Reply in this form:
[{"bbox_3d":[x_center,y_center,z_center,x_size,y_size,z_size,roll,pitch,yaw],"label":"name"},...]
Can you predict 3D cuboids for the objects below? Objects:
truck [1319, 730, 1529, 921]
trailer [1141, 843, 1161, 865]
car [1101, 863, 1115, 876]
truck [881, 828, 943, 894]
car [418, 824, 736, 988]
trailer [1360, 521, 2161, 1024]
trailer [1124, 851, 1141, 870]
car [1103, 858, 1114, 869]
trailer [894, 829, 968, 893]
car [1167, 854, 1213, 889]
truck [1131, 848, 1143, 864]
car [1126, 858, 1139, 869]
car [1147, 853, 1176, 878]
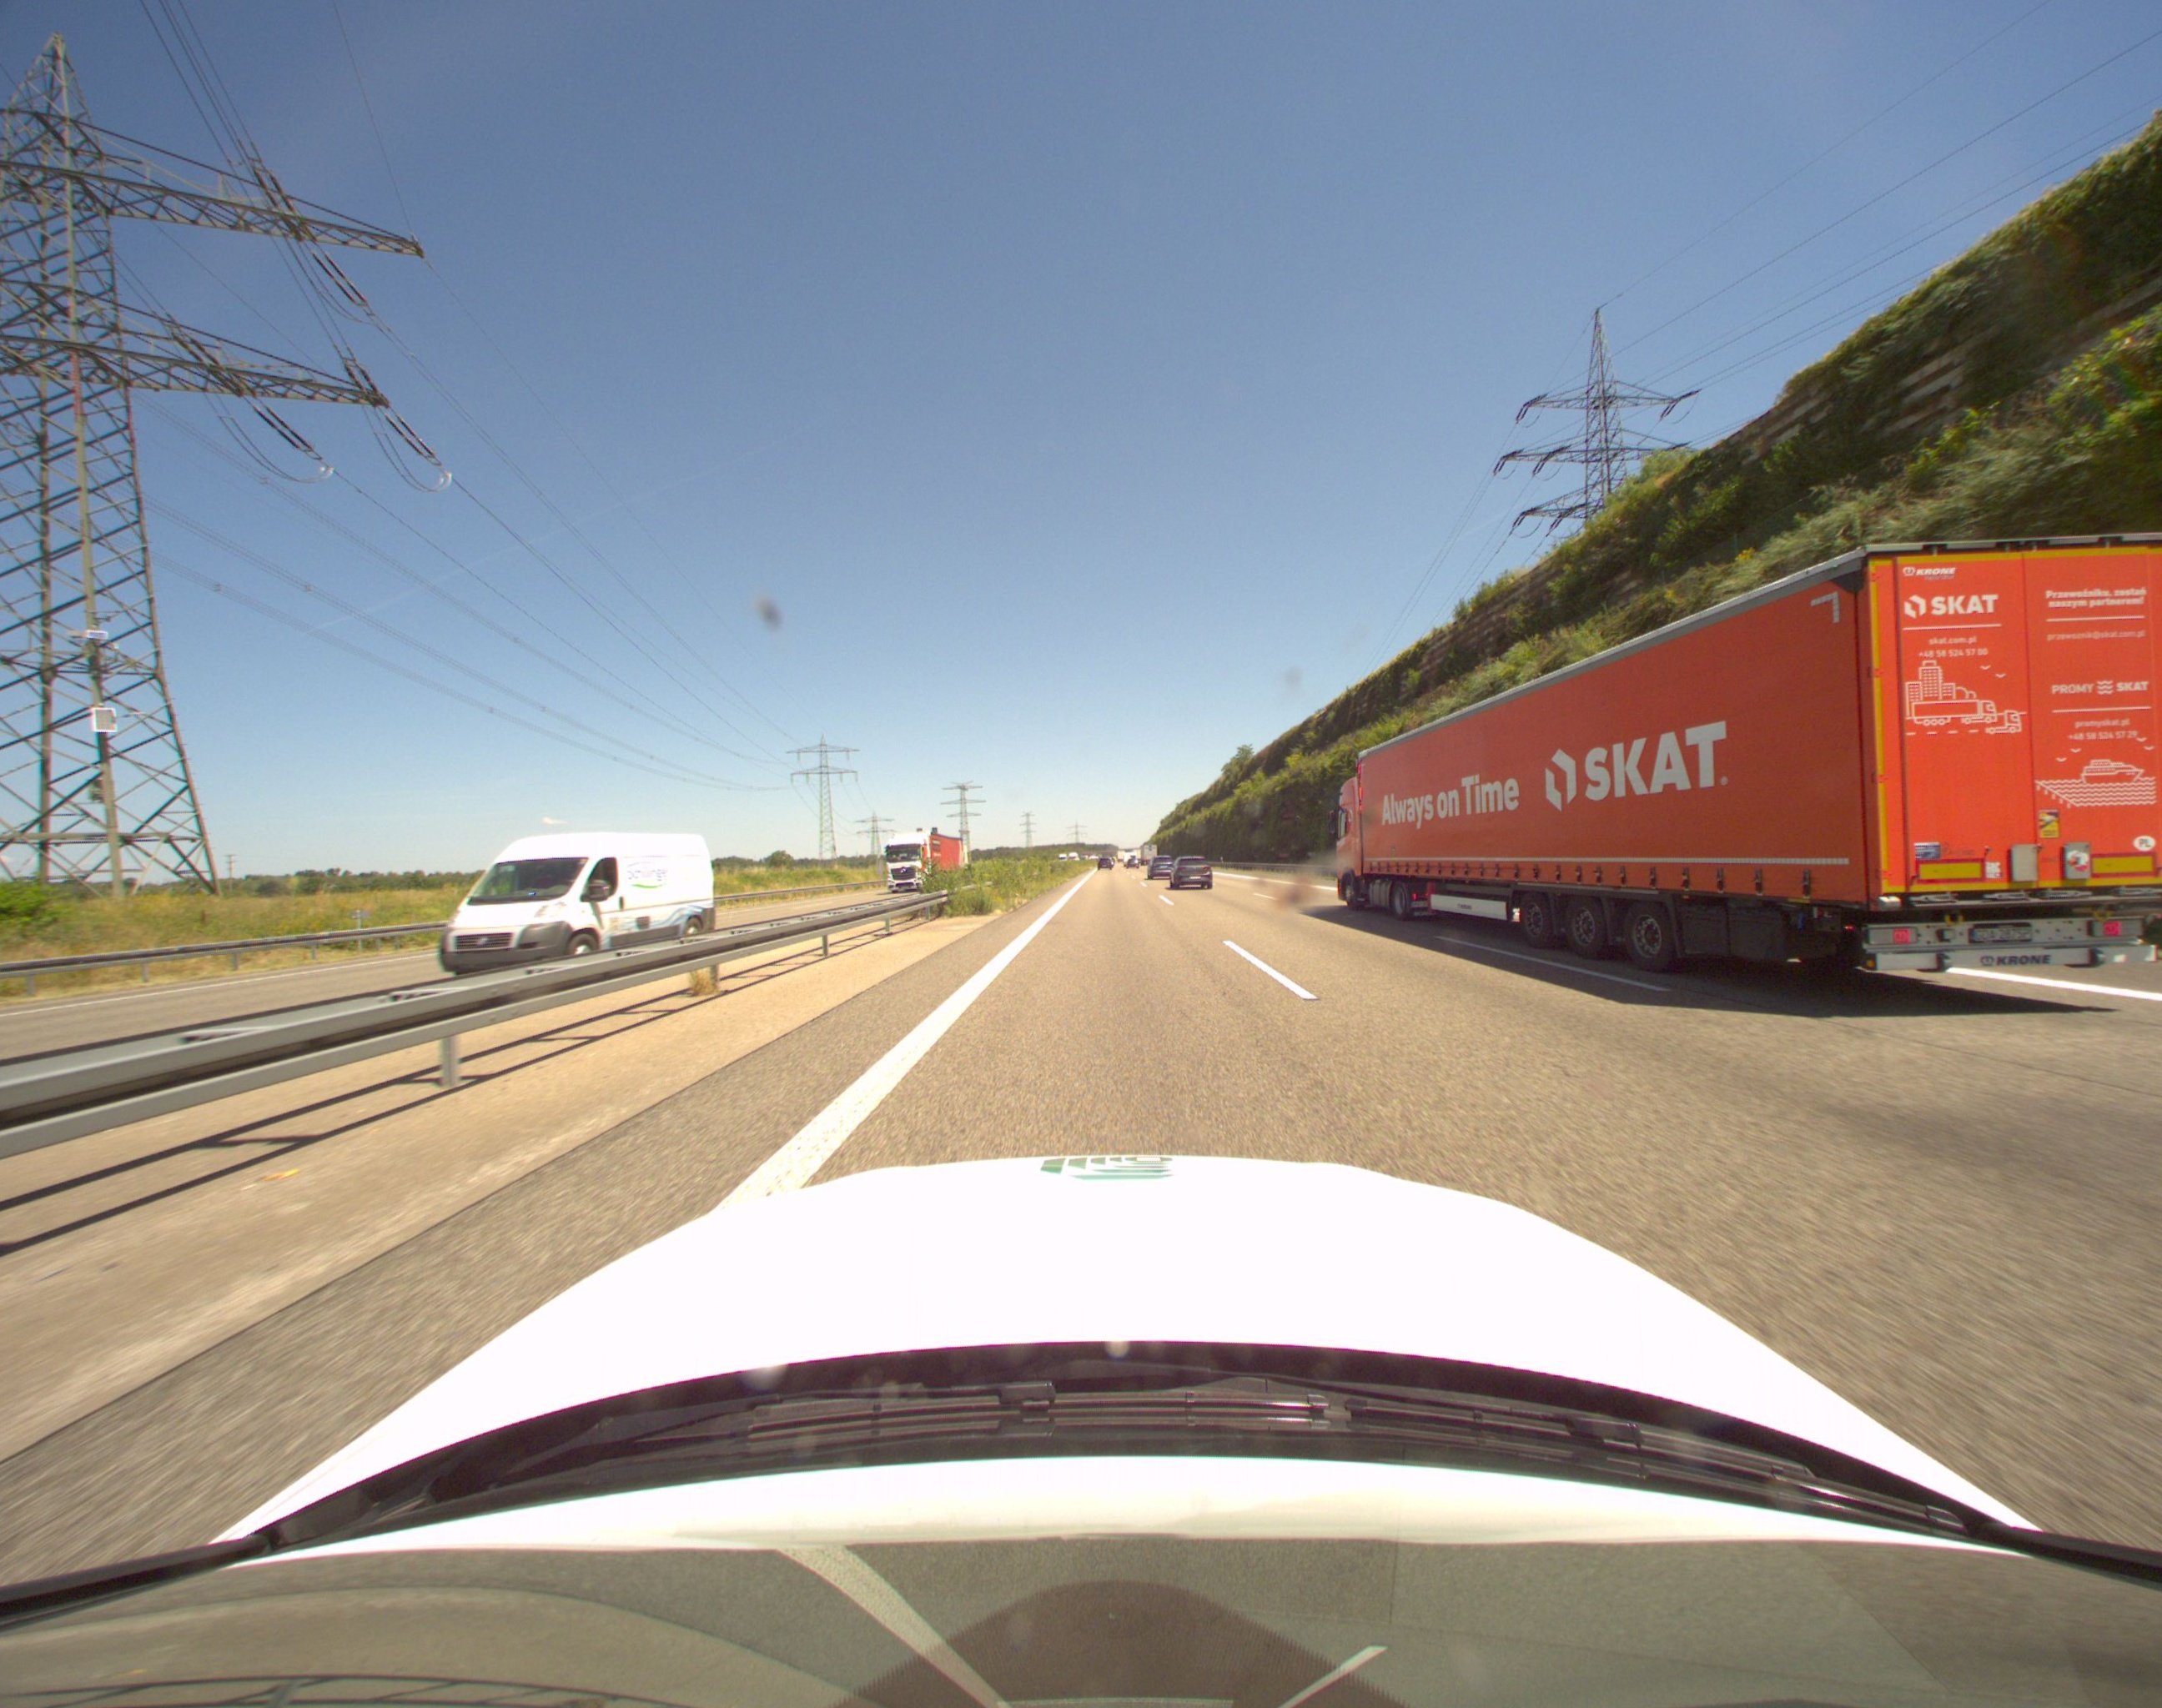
[{"bbox_3d":[8.263,-0.593,20.615,2.608,3.992,6.529,-2,0,2],"label":"truck"},{"bbox_3d":[13.780,0.084,161.352,3.171,4.121,13.438,-3,0,2],"label":"trailer"},{"bbox_3d":[3.755,2.083,112.952,1.823,1.670,4.001,-3,-1,2],"label":"car"},{"bbox_3d":[-11.501,0.469,56.005,2.590,4.211,5.912,-3,0,2],"label":"truck"},{"bbox_3d":[-9.063,0.814,15.575,1.985,2.437,6.034,-3,0,3],"label":"car"},{"bbox_3d":[8.078,-0.634,13.375,2.635,4.005,13.611,-2,0,2],"label":"trailer"},{"bbox_3d":[9.291,1.198,146.804,2.601,3.213,9.956,-3,-1,2],"label":"trailer"},{"bbox_3d":[4.592,1.558,136.429,1.823,1.670,4.001,-3,-1,2],"label":"car"},{"bbox_3d":[-11.313,0.519,63.090,2.582,4.238,14.331,-3,0,1],"label":"trailer"},{"bbox_3d":[5.214,0.801,39.314,1.743,1.525,3.996,-2,-1,1],"label":"car"},{"bbox_3d":[15.922,0.535,232.484,3.107,4.280,11.940,-3,-1,2],"label":"truck"},{"bbox_3d":[7.574,1.441,119.872,1.822,1.525,4.003,-3,-1,3],"label":"car"},{"bbox_3d":[5.660,0.821,57.564,1.787,1.653,4.140,-2,0,2],"label":"car"}]
